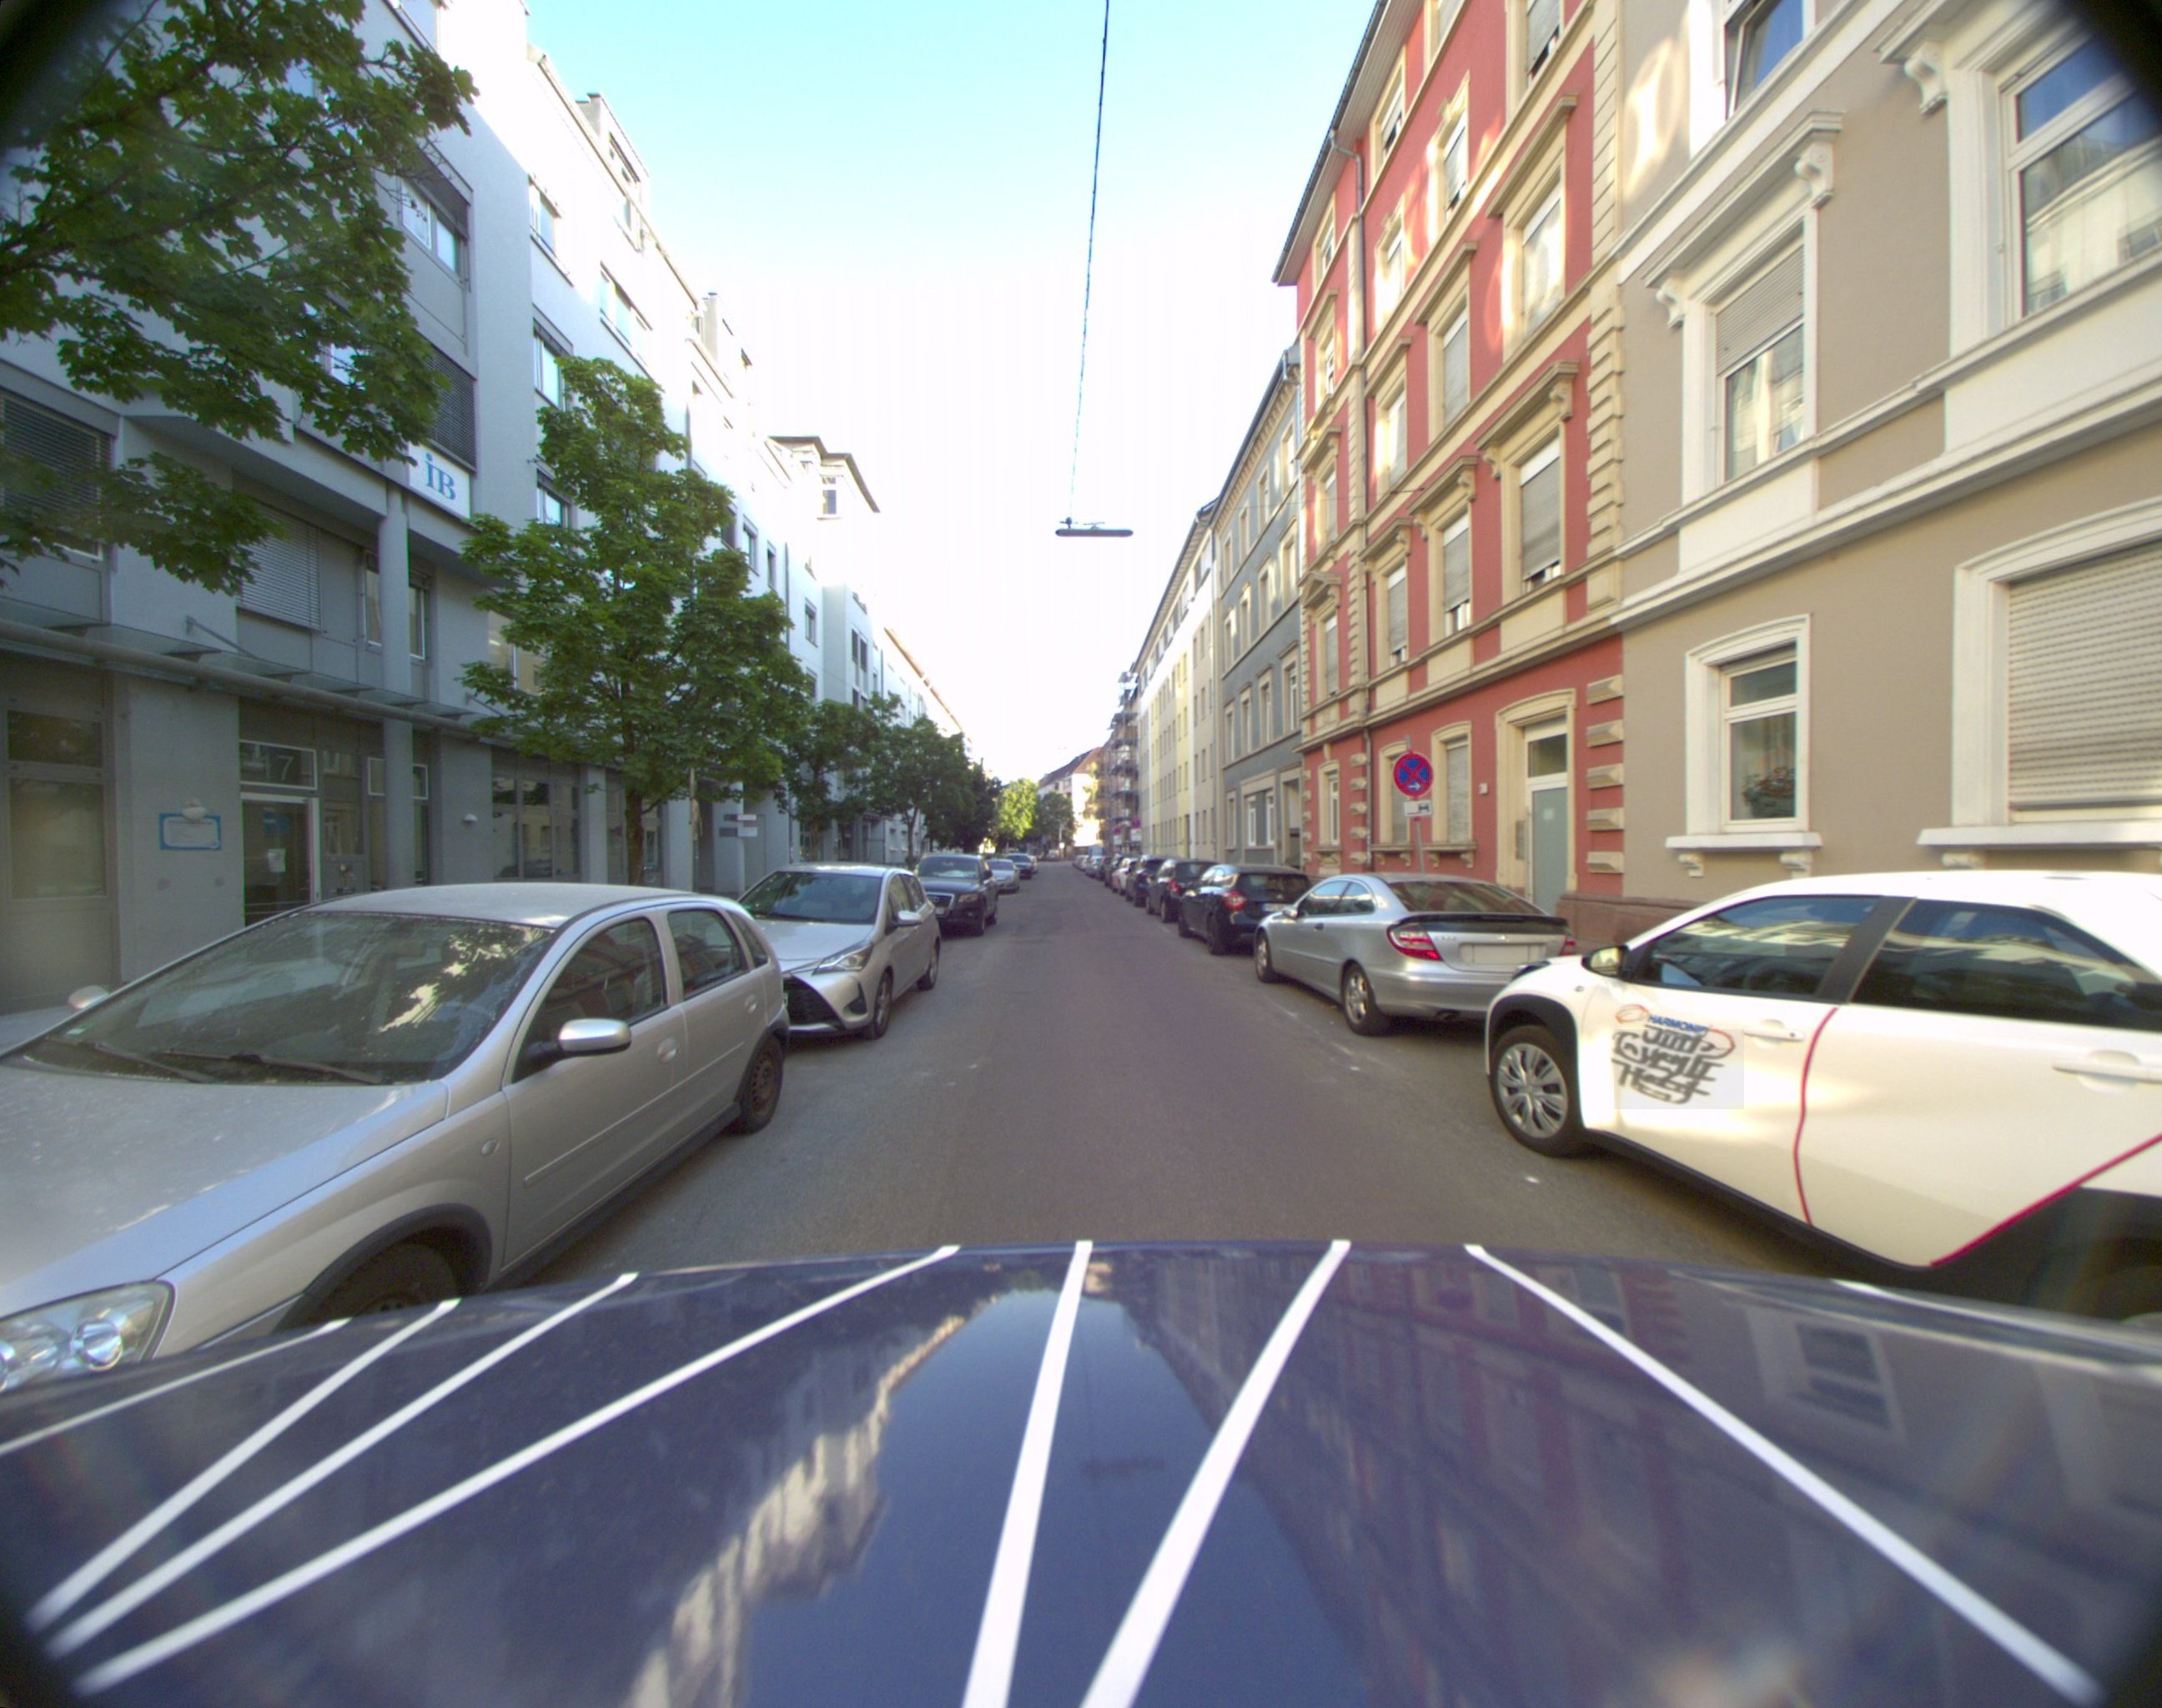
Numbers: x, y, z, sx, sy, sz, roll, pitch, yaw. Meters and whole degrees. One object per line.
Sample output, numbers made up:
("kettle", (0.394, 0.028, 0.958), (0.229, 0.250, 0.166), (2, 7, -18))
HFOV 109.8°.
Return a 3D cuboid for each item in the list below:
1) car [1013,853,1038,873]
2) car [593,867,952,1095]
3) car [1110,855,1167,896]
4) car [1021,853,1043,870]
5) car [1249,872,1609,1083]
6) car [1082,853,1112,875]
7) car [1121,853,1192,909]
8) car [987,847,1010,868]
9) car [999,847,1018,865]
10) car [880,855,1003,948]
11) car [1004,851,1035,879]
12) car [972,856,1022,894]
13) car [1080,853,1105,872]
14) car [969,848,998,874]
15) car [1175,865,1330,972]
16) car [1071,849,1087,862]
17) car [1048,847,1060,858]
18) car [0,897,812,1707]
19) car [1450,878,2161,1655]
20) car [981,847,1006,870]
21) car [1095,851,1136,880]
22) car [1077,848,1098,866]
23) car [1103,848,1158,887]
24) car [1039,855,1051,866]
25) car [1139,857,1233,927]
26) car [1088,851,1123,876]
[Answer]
("car", (-4.444, 0.723, 61.777), (1.903, 1.510, 4.222), (-1, 0, -3))
("car", (-2.640, 0.982, 7.667), (1.913, 1.576, 4.000), (-1, 0, 1))
("car", (2.199, 0.807, 30.114), (1.662, 1.420, 4.351), (-1, 1, -4))
("car", (-4.457, 0.660, 69.535), (1.856, 1.480, 3.998), (-1, 0, -3))
("car", (3.057, 0.984, 7.681), (1.614, 1.420, 3.960), (2, 1, -3))
("car", (1.122, 0.690, 55.115), (1.999, 1.437, 3.999), (-1, 0, -2))
("car", (2.306, 0.778, 24.179), (1.598, 1.513, 4.428), (-1, 1, -3))
("car", (-8.241, 0.320, 75.862), (1.999, 2.002, 3.998), (-1, 1, -3))
("car", (-8.396, 0.178, 88.585), (1.999, 2.002, 3.998), (-1, 1, -3))
("car", (-2.877, 0.907, 16.617), (1.863, 1.679, 4.389), (-1, 0, 0))
("car", (-3.969, 0.675, 49.326), (1.856, 1.649, 3.998), (-1, 0, -4))
("car", (-3.565, 0.866, 32.850), (1.856, 1.480, 3.998), (-1, 0, -3))
("car", (1.030, 0.749, 69.997), (1.999, 1.576, 4.492), (-1, 1, -3))
("car", (-7.891, 0.516, 61.878), (1.999, 2.002, 3.998), (-1, 1, -3))
("car", (2.747, 0.969, 13.051), (1.589, 1.407, 3.911), (3, 0, -2))
("car", (-0.347, 0.185, 102.707), (1.999, 1.783, 3.999), (-1, 0, -2))
("car", (-4.714, -0.308, 132.527), (1.999, 1.783, 3.999), (-1, 0, -2))
("car", (-2.670, 1.044, 3.089), (1.638, 1.439, 4.066), (-1, 0, 1))
("car", (3.120, 0.949, 2.670), (1.688, 1.487, 3.843), (3, 1, 0))
("car", (-8.168, 0.417, 71.322), (1.999, 2.002, 3.998), (-1, 1, -3))
("car", (1.986, 0.620, 45.148), (1.999, 1.576, 4.492), (-1, 1, -3))
("car", (0.672, 0.319, 80.235), (1.999, 1.783, 3.999), (-1, 0, -2))
("car", (2.206, 0.581, 35.229), (1.999, 1.640, 4.492), (-1, 1, -3))
("car", (-6.554, 1.085, 137.679), (1.999, 1.838, 3.998), (-2, 1, -3))
("car", (2.526, 0.862, 19.175), (1.537, 1.490, 4.194), (1, 1, -3))
("car", (1.565, 0.579, 49.836), (1.999, 1.566, 4.148), (-1, 0, -2))
